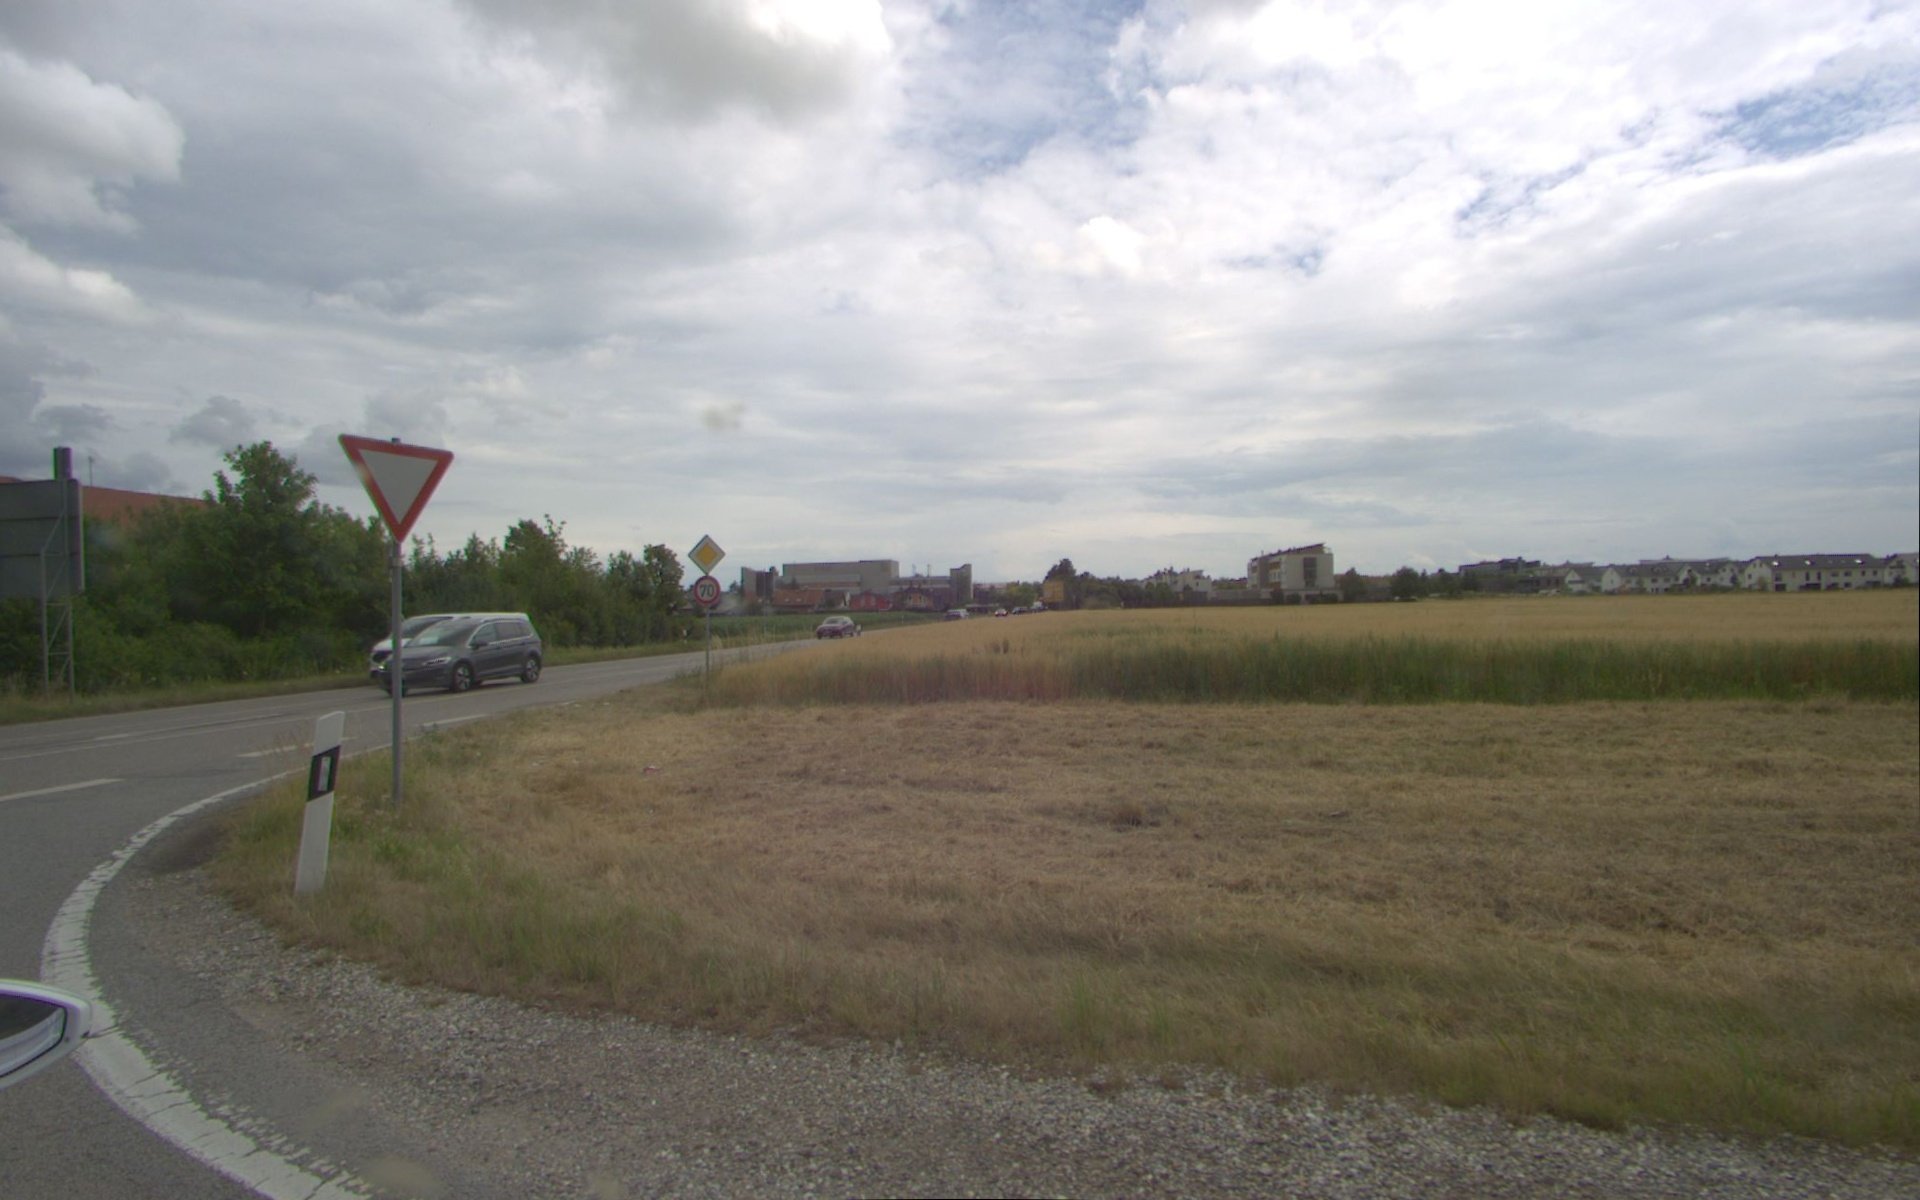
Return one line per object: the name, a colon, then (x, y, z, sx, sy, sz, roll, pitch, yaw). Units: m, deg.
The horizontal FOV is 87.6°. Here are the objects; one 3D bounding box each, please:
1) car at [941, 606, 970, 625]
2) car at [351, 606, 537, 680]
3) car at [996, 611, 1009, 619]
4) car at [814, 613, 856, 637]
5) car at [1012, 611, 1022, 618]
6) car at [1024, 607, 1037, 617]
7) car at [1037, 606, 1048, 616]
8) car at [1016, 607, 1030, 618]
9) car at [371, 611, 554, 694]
car: (-0.342, 1.343, 87.186, 1.829, 1.586, 3.997, -1, 0, 10)
car: (-14.844, 1.164, 29.287, 2.072, 1.911, 5.388, -2, 0, 8)
car: (7.119, 2.422, 166.382, 1.743, 1.257, 4.210, -2, 0, 7)
car: (-8.287, 1.625, 66.705, 1.646, 1.420, 4.087, -2, 0, 8)
car: (11.372, 2.890, 201.014, 1.642, 1.448, 4.302, -3, -1, 8)
car: (13.195, 2.159, 187.307, 1.829, 1.751, 3.997, -1, 0, 10)
car: (17.434, 2.355, 211.956, 2.080, 2.040, 4.738, -1, 0, 9)
car: (10.367, 2.069, 164.489, 1.829, 1.751, 3.997, -1, 0, 10)
car: (-11.602, 1.155, 23.715, 1.720, 1.680, 4.289, -2, 0, 7)
